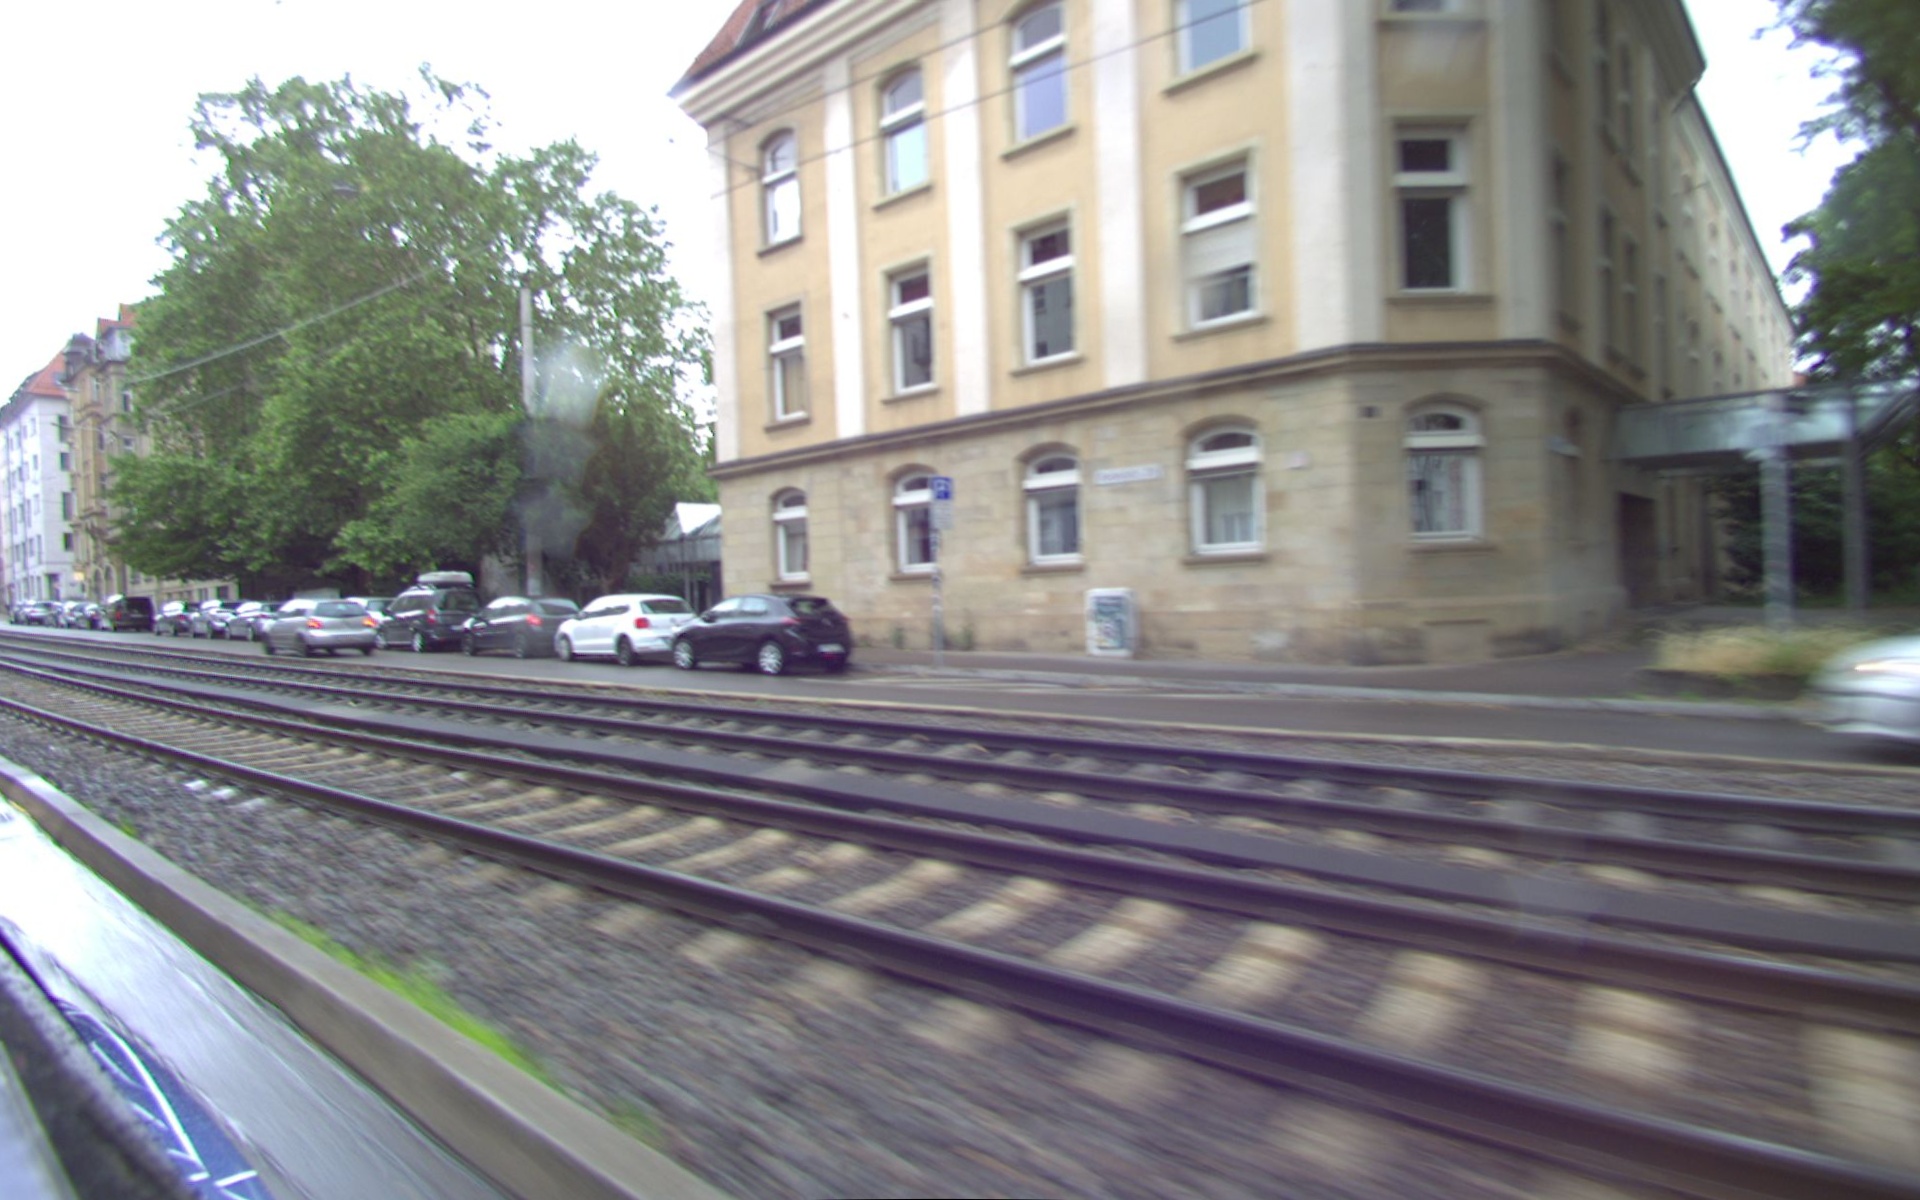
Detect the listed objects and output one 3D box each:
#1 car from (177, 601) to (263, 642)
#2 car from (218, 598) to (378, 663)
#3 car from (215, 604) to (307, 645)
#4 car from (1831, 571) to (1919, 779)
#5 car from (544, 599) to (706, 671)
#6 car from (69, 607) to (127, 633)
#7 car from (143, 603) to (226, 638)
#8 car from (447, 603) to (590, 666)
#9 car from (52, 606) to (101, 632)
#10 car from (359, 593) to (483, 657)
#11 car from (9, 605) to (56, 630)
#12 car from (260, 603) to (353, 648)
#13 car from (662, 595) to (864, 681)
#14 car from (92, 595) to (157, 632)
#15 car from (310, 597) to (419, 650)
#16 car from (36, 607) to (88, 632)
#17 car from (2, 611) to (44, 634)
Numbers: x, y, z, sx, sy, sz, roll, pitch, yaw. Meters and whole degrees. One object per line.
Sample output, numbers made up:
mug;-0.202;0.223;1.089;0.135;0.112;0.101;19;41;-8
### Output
car;-29.792;0.879;40.711;4.539;1.548;1.736;-1;-2;40
car;-17.027;0.746;25.972;4.621;1.516;1.802;-1;0;34
car;-25.910;0.898;37.468;4.149;1.424;1.736;-1;-2;40
car;8.808;0.518;7.145;3.773;1.508;1.646;-1;0;32
car;-7.230;0.732;21.650;3.986;1.401;1.484;-1;-2;42
car;-48.216;1.123;56.576;4.265;1.409;1.745;-1;-2;39
car;-33.786;0.889;44.051;4.545;1.475;1.831;-1;-2;39
car;-10.839;0.815;24.751;4.008;1.424;1.657;-1;-2;42
car;-52.694;1.140;60.357;3.853;1.535;1.677;-1;-2;41
car;-14.970;0.689;28.033;4.068;1.655;1.561;-1;-2;40
car;-64.350;1.173;70.190;4.311;1.665;1.840;-1;0;39
car;-22.143;0.851;34.240;3.949;1.424;1.524;-1;-2;40
car;-3.701;0.672;18.674;3.849;1.440;1.598;-1;-1;40
car;-43.229;0.711;52.323;4.815;1.861;1.782;-1;-2;40
car;-18.312;0.728;31.058;4.150;1.517;1.524;-1;-2;40
car;-56.425;1.232;63.589;4.166;1.519;1.851;-1;-1;40
car;-68.195;1.629;73.621;4.429;1.614;1.838;-1;-1;42
